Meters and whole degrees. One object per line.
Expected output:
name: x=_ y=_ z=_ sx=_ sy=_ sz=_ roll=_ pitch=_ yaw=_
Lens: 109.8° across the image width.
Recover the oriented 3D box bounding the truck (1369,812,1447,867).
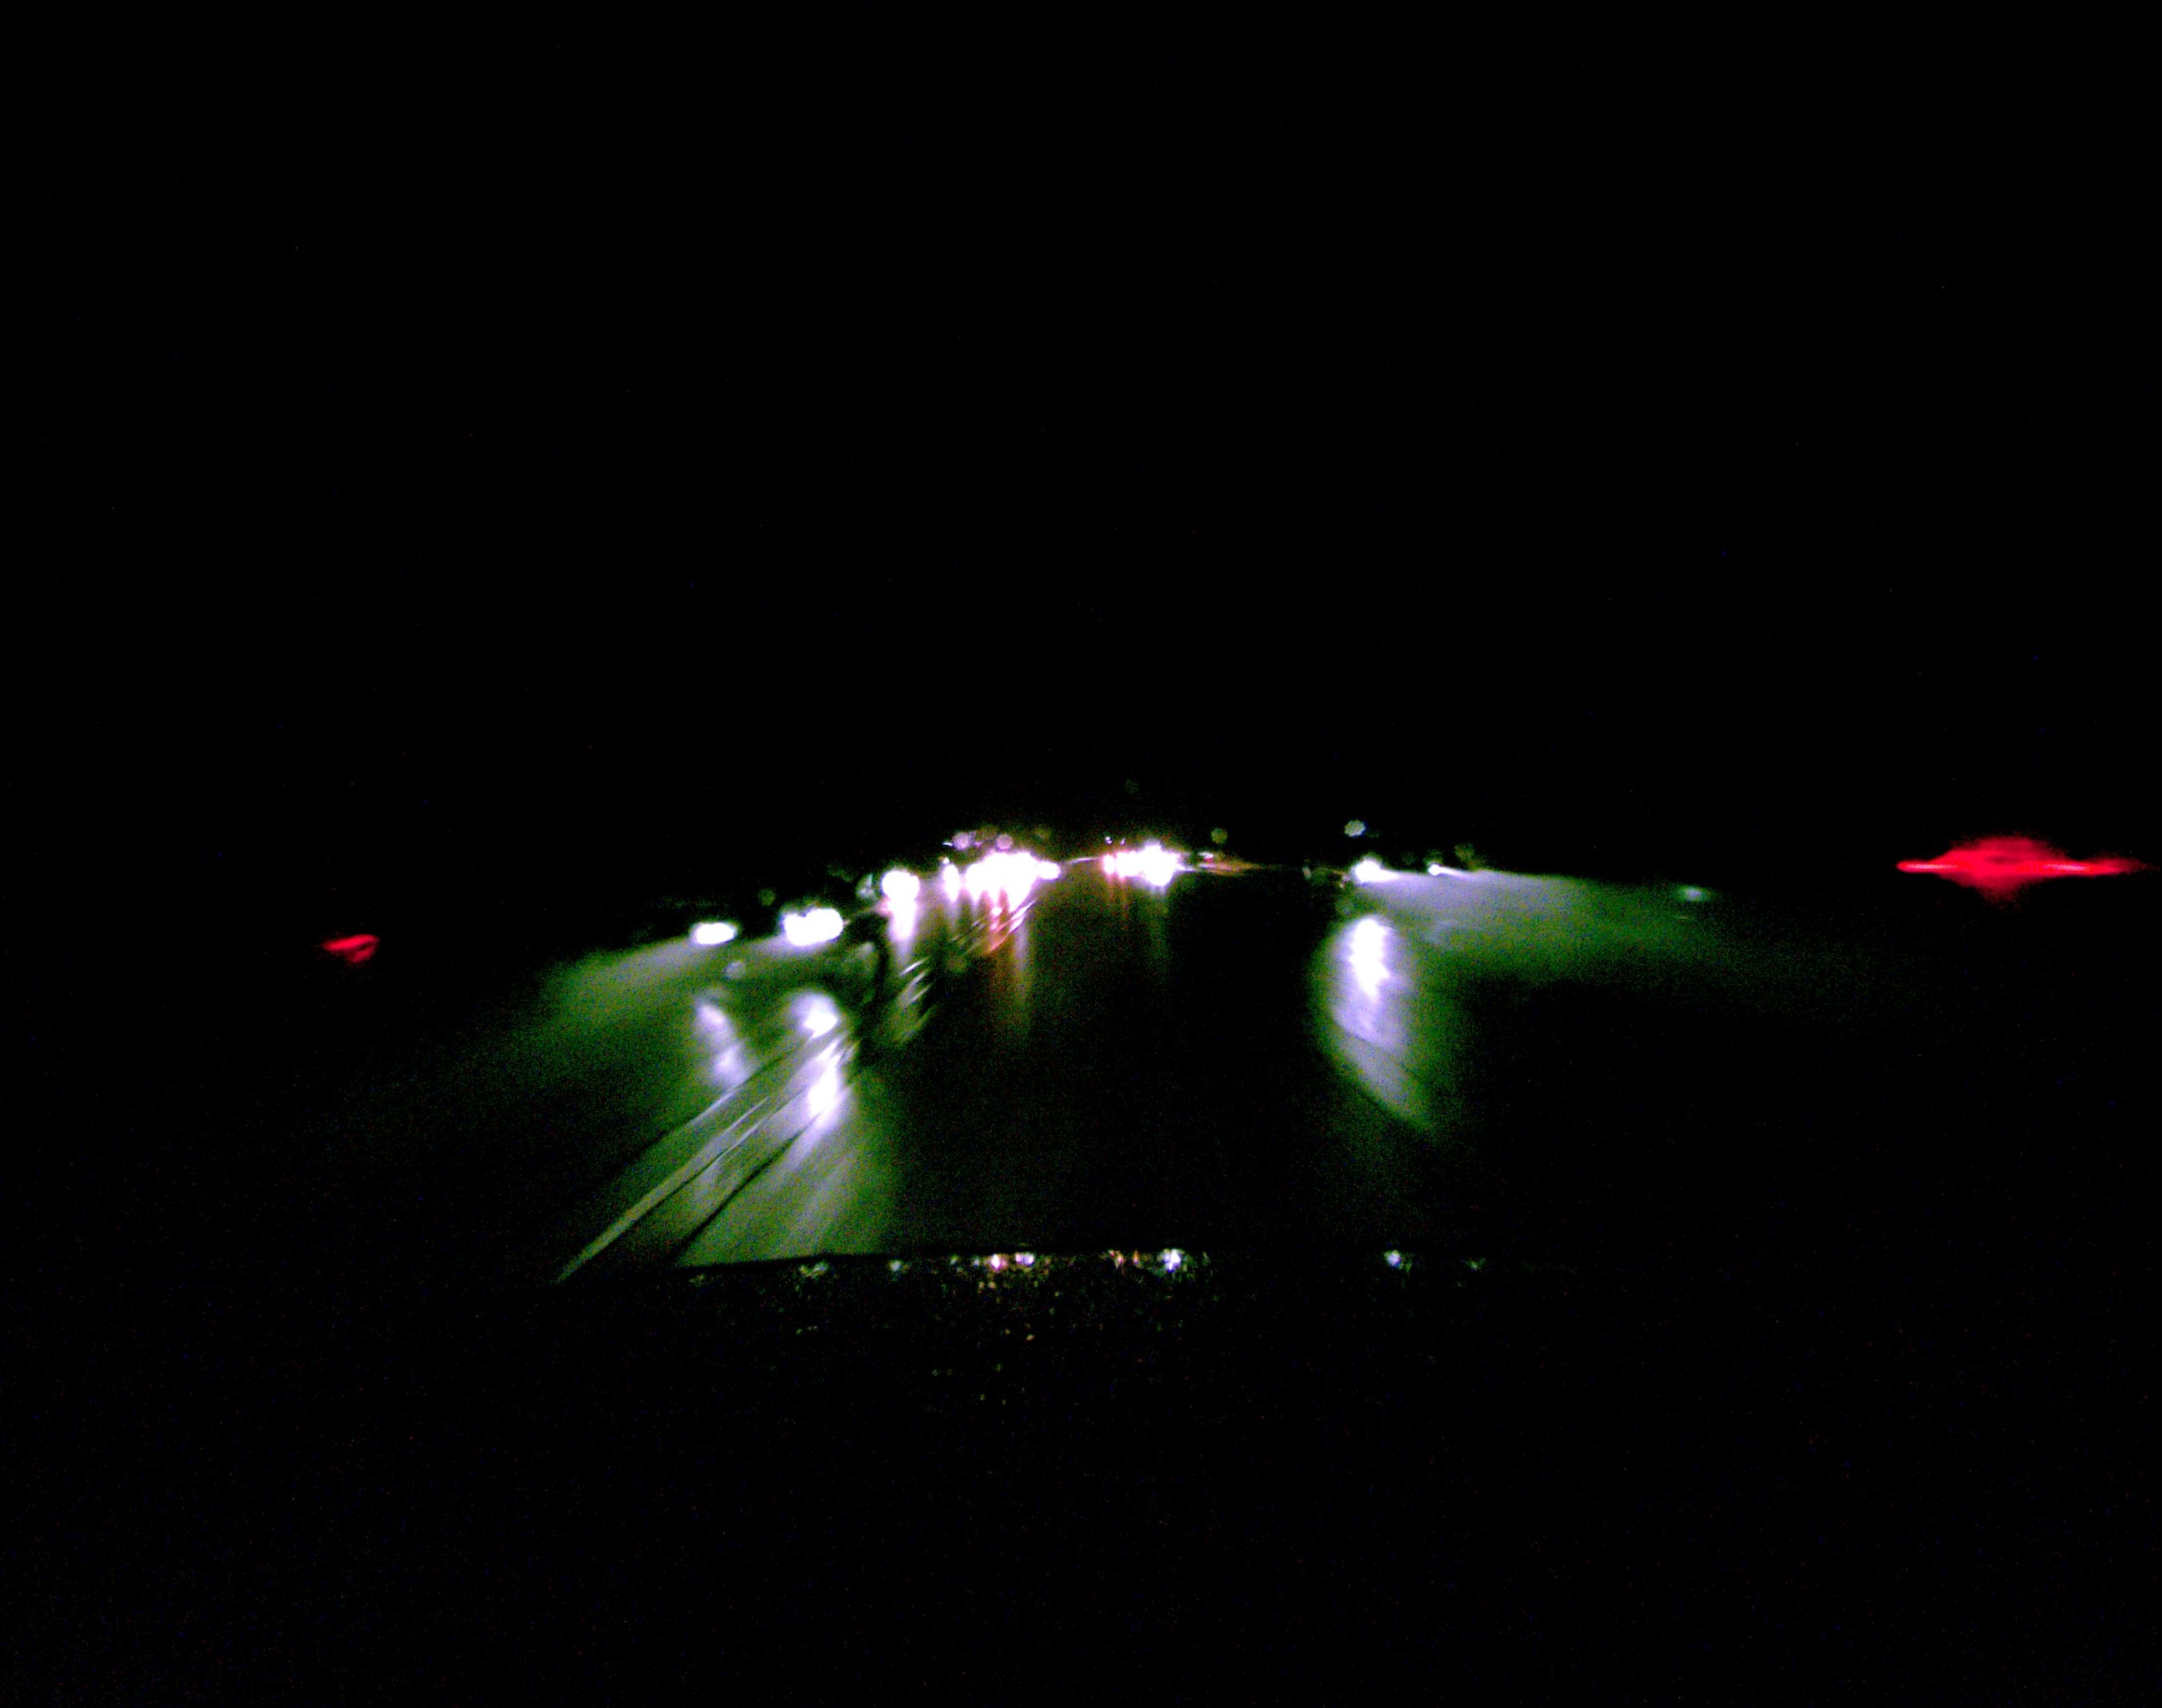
truck: x=25.116 y=-1.159 z=58.826 sx=2.820 sy=3.984 sz=7.347 roll=1 pitch=2 yaw=1

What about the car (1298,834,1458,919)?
car: x=7.442 y=0.427 z=19.802 sx=2.142 sy=1.874 sz=5.554 roll=-1 pitch=2 yaw=2

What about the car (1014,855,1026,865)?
car: x=-8.649 y=0.892 z=107.789 sx=1.712 sy=1.286 sz=3.990 roll=1 pitch=-1 yaw=-5

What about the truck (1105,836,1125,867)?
truck: x=4.691 y=-0.410 z=106.329 sx=2.503 sy=4.224 sz=5.980 roll=1 pitch=2 yaw=0

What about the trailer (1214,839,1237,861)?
trailer: x=30.890 y=-0.957 z=163.083 sx=2.554 sy=4.518 sz=13.915 roll=1 pitch=2 yaw=2

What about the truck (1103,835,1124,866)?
truck: x=4.716 y=-0.601 z=112.365 sx=2.503 sy=4.224 sz=13.637 roll=1 pitch=2 yaw=0

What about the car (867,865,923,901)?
car: x=-8.686 y=1.308 z=35.753 sx=1.794 sy=1.477 sz=4.326 roll=-2 pitch=0 yaw=-4

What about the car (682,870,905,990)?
car: x=-4.392 y=1.074 z=12.447 sx=1.999 sy=1.440 sz=4.335 roll=-2 pitch=0 yaw=-1

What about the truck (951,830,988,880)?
truck: x=-9.914 y=0.020 z=68.165 sx=2.766 sy=4.199 sz=6.190 roll=1 pitch=2 yaw=-5

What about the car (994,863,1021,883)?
car: x=-4.919 y=1.274 z=51.061 sx=1.712 sy=1.286 sz=3.990 roll=1 pitch=-1 yaw=-5

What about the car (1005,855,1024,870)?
car: x=-5.971 y=0.766 z=68.258 sx=1.712 sy=1.286 sz=3.990 roll=1 pitch=-1 yaw=-5

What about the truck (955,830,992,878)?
truck: x=-10.472 y=-0.203 z=75.285 sx=2.766 sy=4.199 sz=13.816 roll=1 pitch=2 yaw=-5

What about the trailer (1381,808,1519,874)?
trailer: x=25.035 y=-0.982 z=52.860 sx=2.820 sy=3.976 sz=13.926 roll=1 pitch=2 yaw=1

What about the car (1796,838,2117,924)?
car: x=18.225 y=0.459 z=16.216 sx=1.844 sy=1.517 sz=4.291 roll=1 pitch=2 yaw=1

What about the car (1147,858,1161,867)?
car: x=10.741 y=1.202 z=111.440 sx=1.711 sy=1.286 sz=3.992 roll=1 pitch=-1 yaw=0

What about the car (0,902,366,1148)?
car: x=-8.206 y=1.277 z=5.790 sx=1.724 sy=1.488 sz=4.043 roll=-2 pitch=0 yaw=-2
